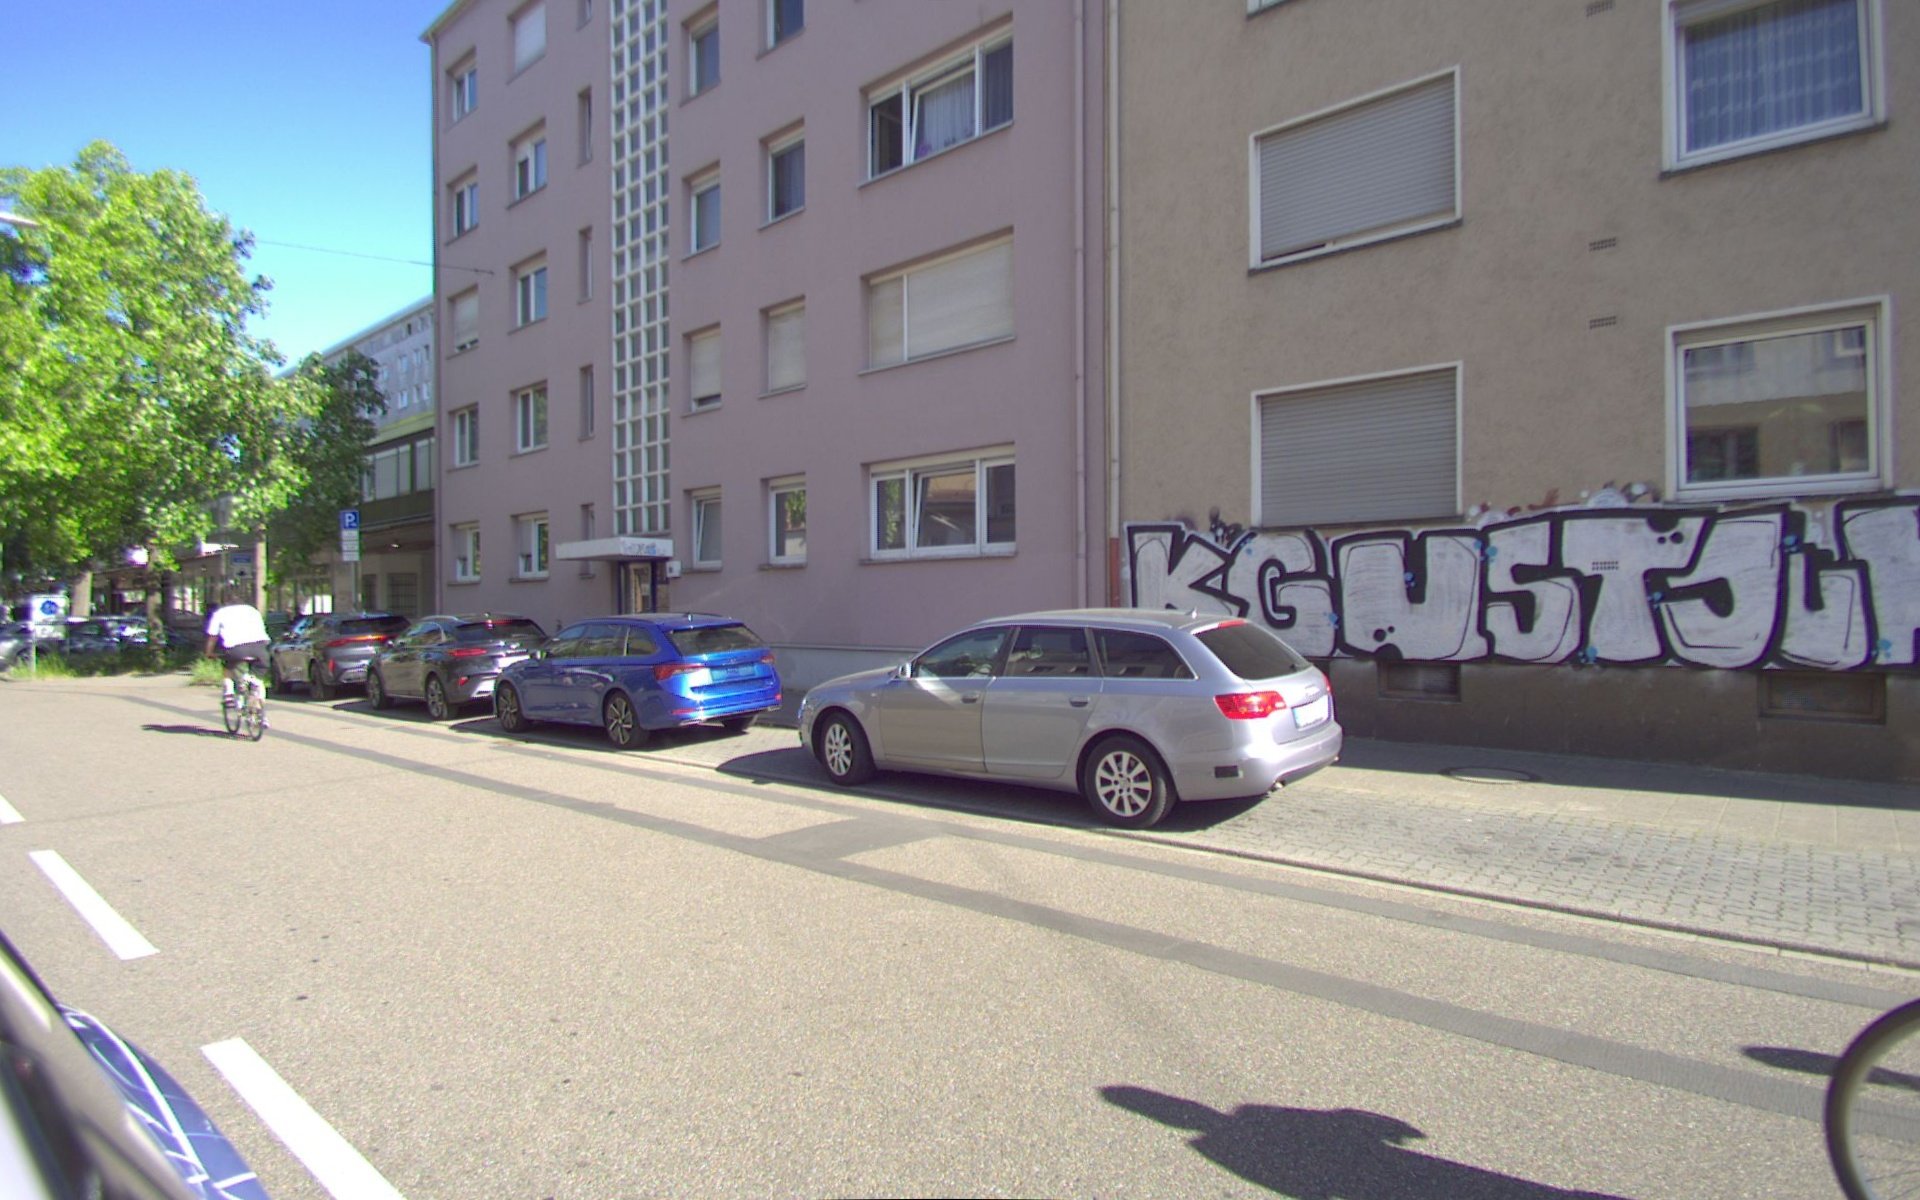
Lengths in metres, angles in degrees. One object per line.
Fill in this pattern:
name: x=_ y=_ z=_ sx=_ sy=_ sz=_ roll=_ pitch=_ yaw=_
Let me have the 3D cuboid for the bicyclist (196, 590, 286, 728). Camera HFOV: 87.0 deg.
bicyclist: x=-8.987 y=0.711 z=12.644 sx=0.945 sy=1.632 sz=0.709 roll=-1 pitch=-1 yaw=41

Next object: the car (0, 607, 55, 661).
car: x=-37.847 y=1.323 z=39.341 sx=1.913 sy=2.058 sz=3.824 roll=-1 pitch=-1 yaw=43

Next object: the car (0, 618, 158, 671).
car: x=-28.842 y=1.411 z=33.057 sx=1.913 sy=1.564 sz=3.943 roll=-1 pitch=-1 yaw=43

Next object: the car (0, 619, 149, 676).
car: x=-26.920 y=1.383 z=30.259 sx=1.913 sy=1.564 sz=3.943 roll=-1 pitch=-1 yaw=43

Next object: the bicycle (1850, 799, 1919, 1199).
bicycle: x=2.720 y=0.948 z=1.610 sx=1.933 sy=0.959 sz=0.672 roll=-1 pitch=-3 yaw=41

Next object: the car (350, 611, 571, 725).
car: x=-7.930 y=0.976 z=15.894 sx=4.157 sy=1.478 sz=1.704 roll=-1 pitch=1 yaw=43

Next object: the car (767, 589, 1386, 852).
car: x=0.699 y=0.752 z=8.267 sx=4.797 sy=1.514 sz=1.805 roll=-1 pitch=1 yaw=40

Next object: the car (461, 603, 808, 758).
car: x=-4.194 y=0.874 z=12.600 sx=4.797 sy=1.514 sz=1.805 roll=-1 pitch=1 yaw=40

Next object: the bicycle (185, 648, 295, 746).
bicycle: x=-9.037 y=1.172 z=12.683 sx=1.871 sy=1.072 sz=0.709 roll=-1 pitch=-1 yaw=41

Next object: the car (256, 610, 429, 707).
car: x=-11.907 y=1.041 z=19.400 sx=4.157 sy=1.588 sz=1.704 roll=-1 pitch=1 yaw=43

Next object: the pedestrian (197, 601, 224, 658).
pedestrian: x=-24.450 y=0.954 z=33.027 sx=0.502 sy=1.820 sz=0.615 roll=-1 pitch=-1 yaw=42
